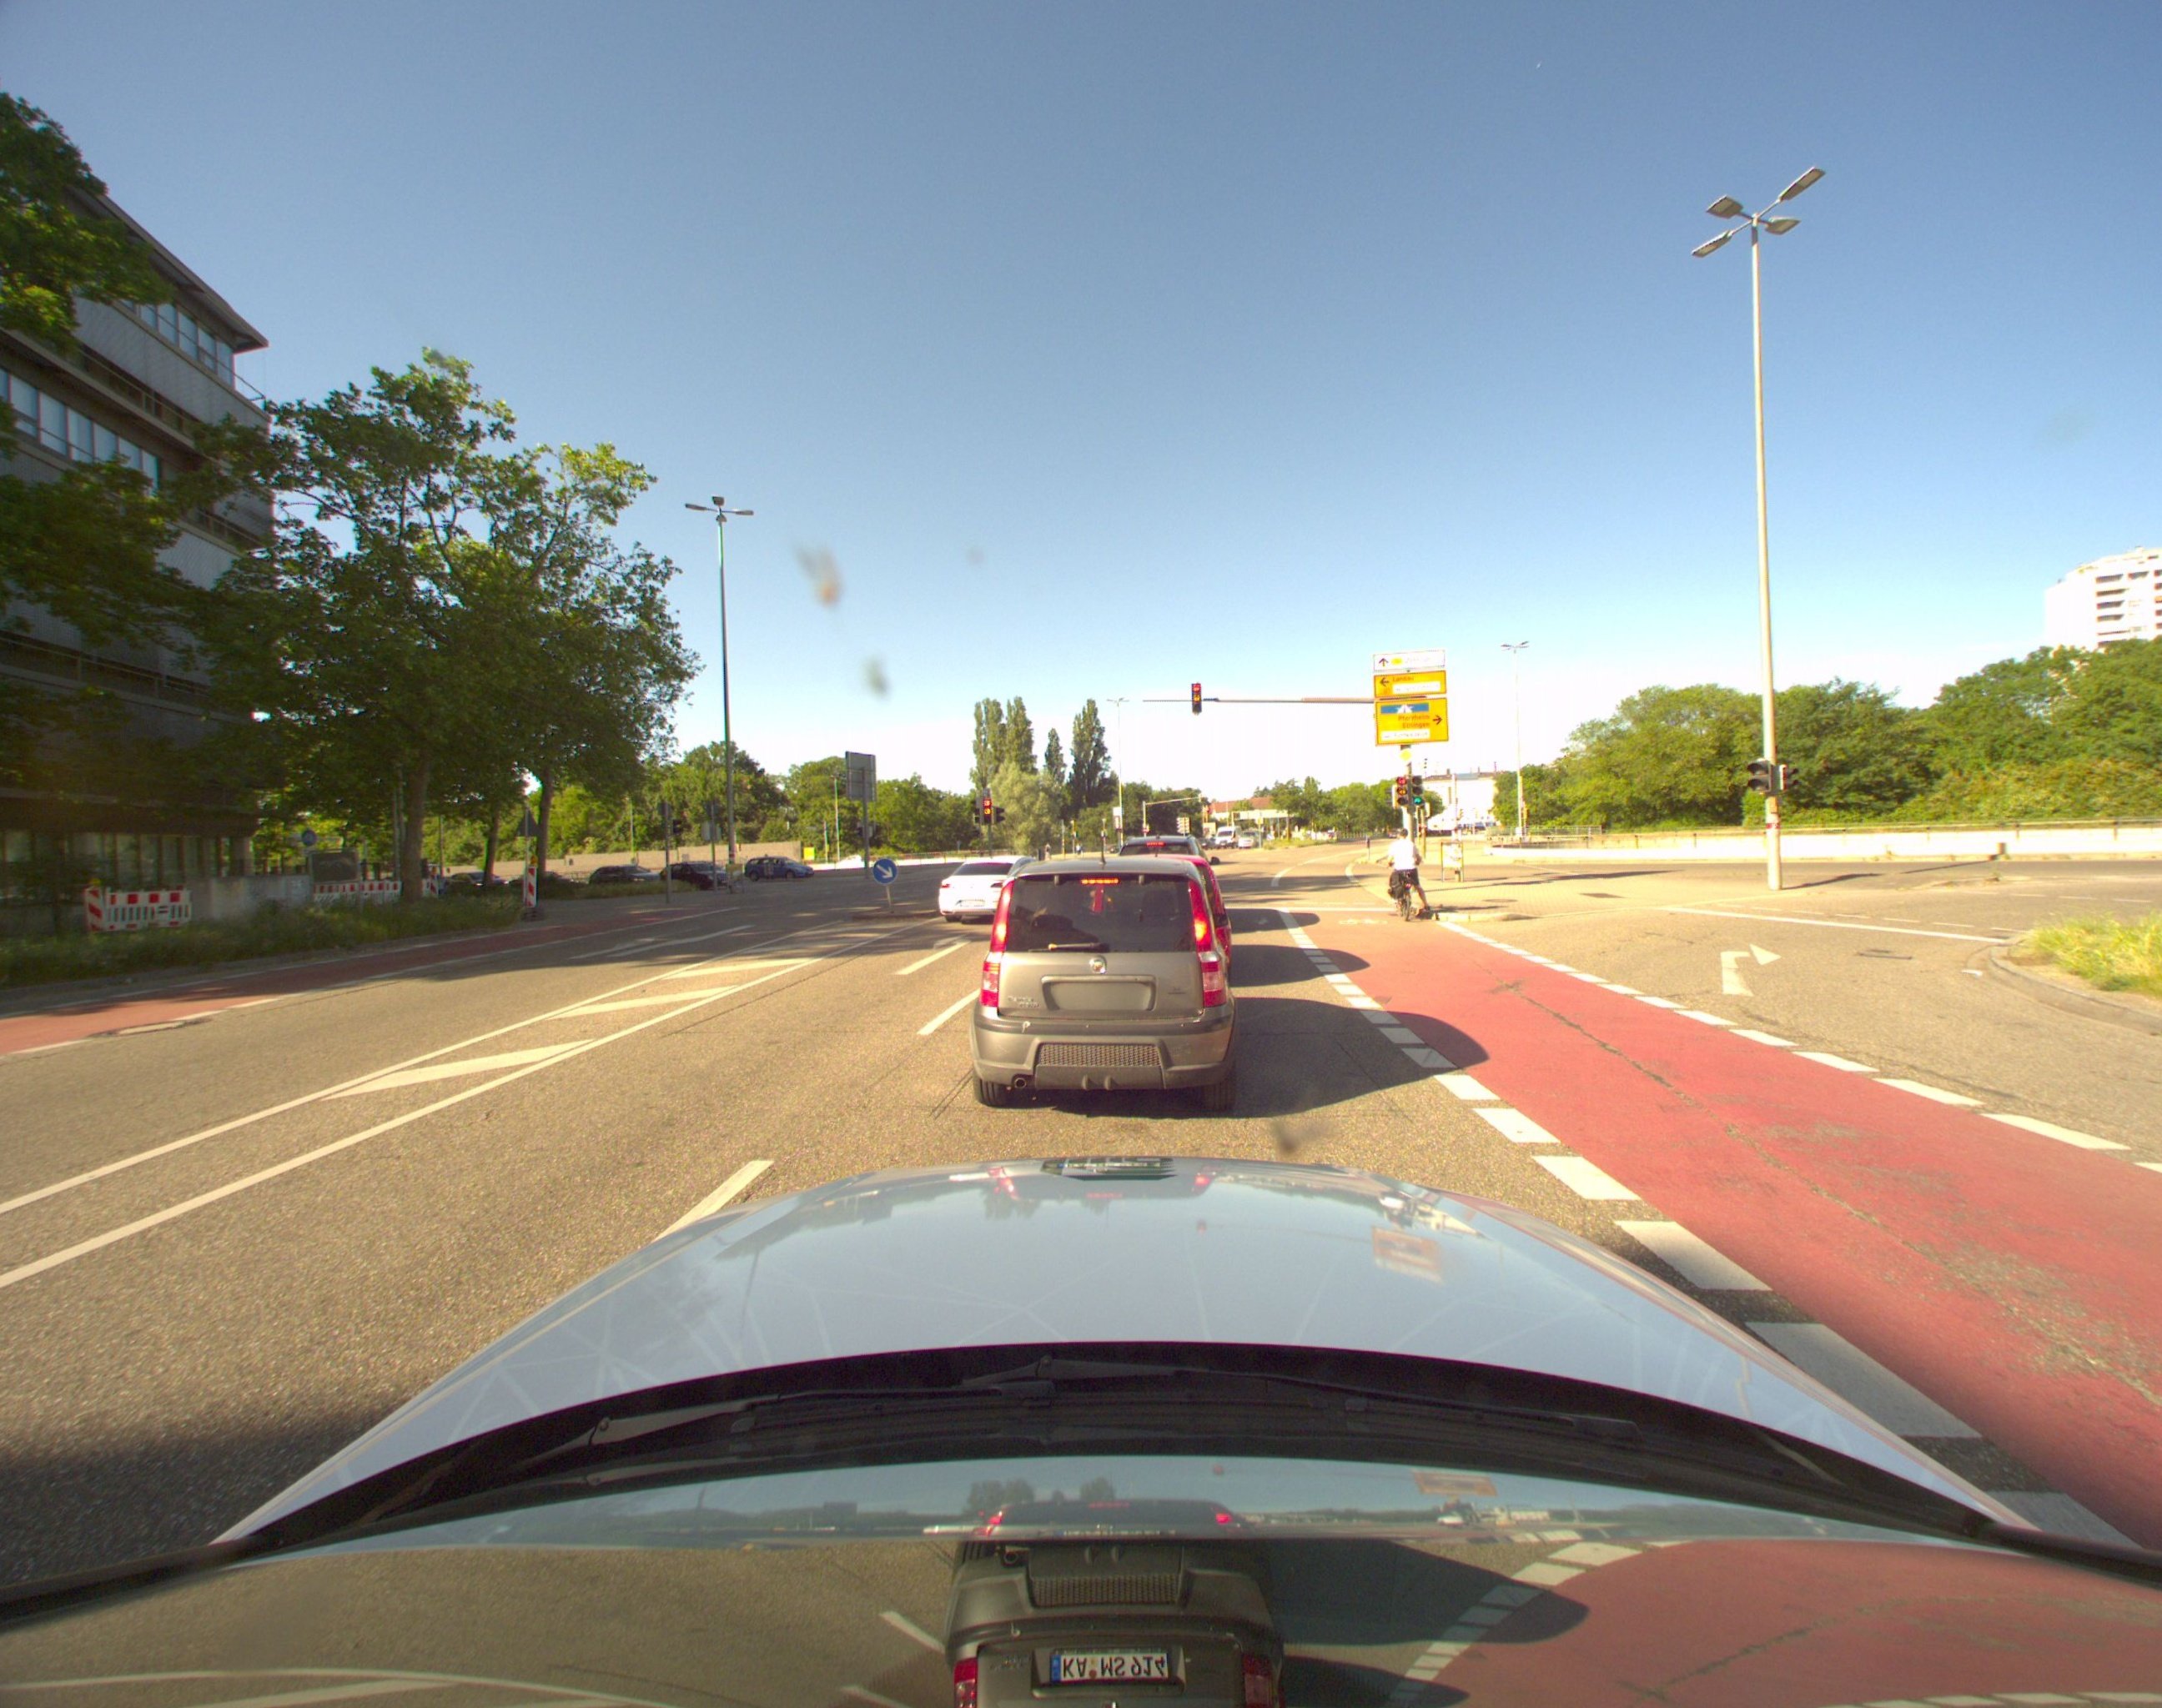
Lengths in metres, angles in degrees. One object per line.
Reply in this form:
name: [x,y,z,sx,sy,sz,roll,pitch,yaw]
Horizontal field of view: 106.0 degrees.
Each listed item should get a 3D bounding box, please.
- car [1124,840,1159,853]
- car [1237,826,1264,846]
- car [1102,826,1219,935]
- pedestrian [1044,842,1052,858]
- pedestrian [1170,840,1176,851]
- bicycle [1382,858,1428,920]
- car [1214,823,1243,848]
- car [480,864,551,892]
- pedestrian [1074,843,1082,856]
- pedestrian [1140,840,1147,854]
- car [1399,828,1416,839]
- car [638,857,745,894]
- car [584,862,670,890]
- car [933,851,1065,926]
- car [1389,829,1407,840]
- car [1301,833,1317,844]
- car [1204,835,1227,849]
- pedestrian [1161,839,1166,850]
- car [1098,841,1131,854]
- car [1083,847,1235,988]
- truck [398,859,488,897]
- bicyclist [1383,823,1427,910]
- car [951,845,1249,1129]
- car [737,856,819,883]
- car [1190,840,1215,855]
car: [7.590,-0.945,102.049,4.351,1.535,1.764,-3,2,-39]
car: [18.074,-1.937,86.541,1.920,2.008,4.958,-2,1,22]
car: [1.719,0.426,16.250,1.933,1.840,4.165,-2,1,10]
pedestrian: [-3.035,-0.369,75.156,0.678,1.463,0.702,-2,1,-4]
pedestrian: [14.237,-1.365,126.237,0.782,1.664,0.633,-1,-1,42]
bicycle: [6.411,0.667,16.169,0.686,1.102,1.834,-1,1,17]
car: [16.455,-2.092,90.572,1.920,2.576,6.122,-2,1,22]
car: [-35.443,1.499,50.995,4.451,1.644,1.892,-2,1,30]
pedestrian: [-0.413,-0.536,98.053,0.710,1.547,0.725,-3,-2,-14]
pedestrian: [7.014,-0.785,91.183,0.557,1.547,0.573,-3,-1,-14]
car: [52.665,-3.308,131.329,1.926,1.528,4.123,-2,1,30]
car: [-19.657,1.087,41.169,4.731,1.621,1.961,-2,1,18]
car: [-24.922,1.215,44.680,4.452,1.358,1.892,-2,1,27]
car: [-1.718,0.700,18.584,1.769,1.415,4.333,-1,1,11]
car: [48.849,-3.026,125.452,1.926,1.528,4.123,-2,1,30]
car: [36.217,-2.434,129.512,1.920,1.622,4.530,-2,1,22]
car: [16.220,-1.471,98.170,1.795,1.541,4.641,-3,1,21]
pedestrian: [12.847,-1.421,126.823,0.494,1.701,0.503,-1,-1,26]
car: [4.291,-0.870,104.269,4.018,1.625,1.880,0,-1,-37]
car: [1.082,0.686,10.762,1.609,1.463,3.759,-2,1,7]
truck: [-43.259,1.625,55.165,7.418,2.359,2.178,-2,1,30]
bicyclist: [6.412,0.228,16.162,0.718,1.659,1.118,-1,1,17]
car: [0.334,0.736,6.431,1.609,1.515,3.828,-2,1,7]
car: [-18.899,0.963,50.922,4.410,1.540,1.960,-2,1,15]
car: [13.718,-0.784,91.621,1.920,1.507,4.020,-3,1,19]
